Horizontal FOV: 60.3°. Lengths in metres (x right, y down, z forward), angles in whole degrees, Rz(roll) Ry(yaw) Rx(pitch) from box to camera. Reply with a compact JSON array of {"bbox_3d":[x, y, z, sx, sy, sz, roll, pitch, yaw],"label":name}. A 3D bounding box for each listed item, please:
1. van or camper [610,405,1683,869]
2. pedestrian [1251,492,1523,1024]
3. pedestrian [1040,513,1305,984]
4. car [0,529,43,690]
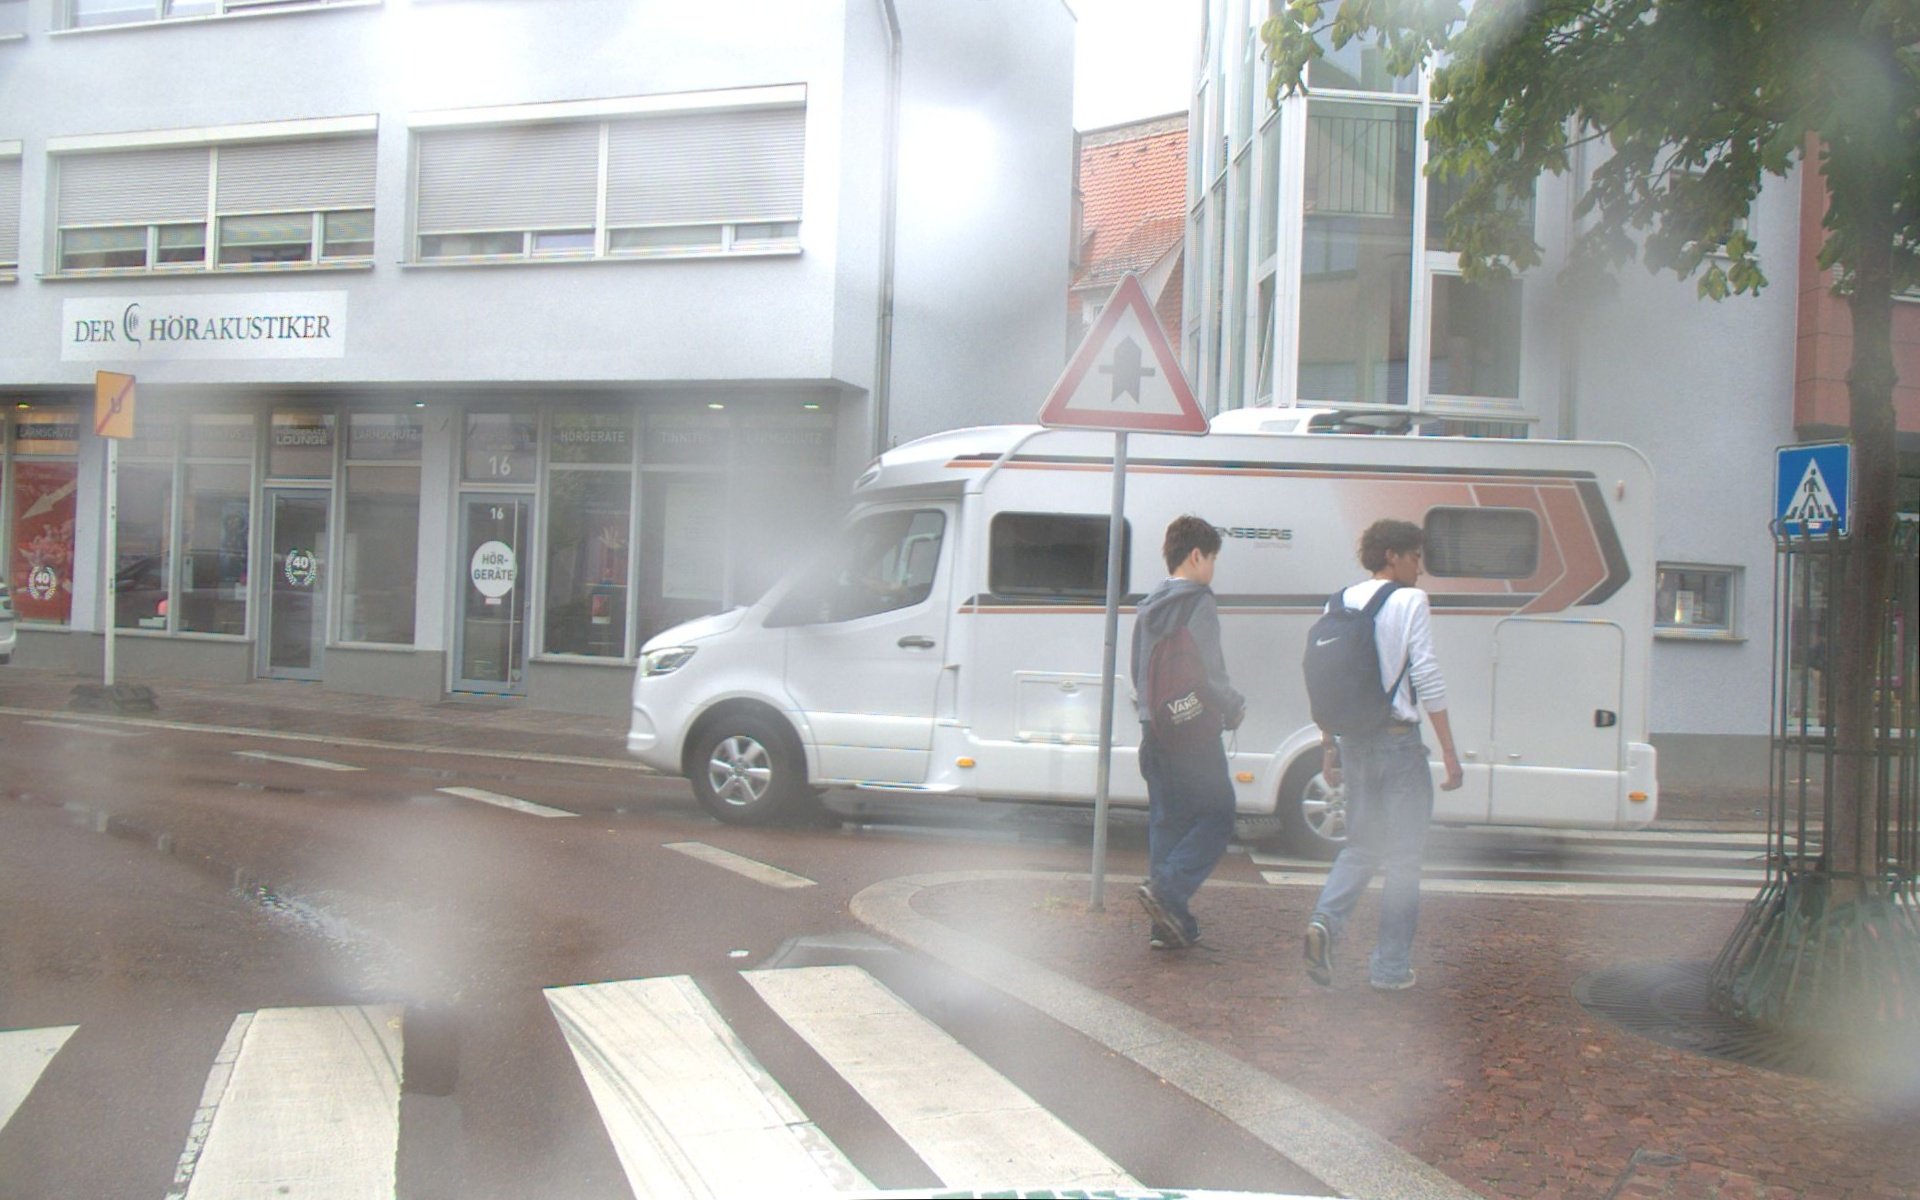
[{"bbox_3d":[1.199,0.198,11.575,6.586,2.631,2.447,2,-1,7],"label":"van or camper"},{"bbox_3d":[1.659,0.552,6.348,0.652,1.838,1.057,1,-1,35],"label":"pedestrian"},{"bbox_3d":[0.929,0.582,7.076,0.680,1.832,1.055,1,-1,35],"label":"pedestrian"},{"bbox_3d":[-12.095,0.072,17.221,4.359,1.659,1.783,1,-1,13],"label":"car"}]
